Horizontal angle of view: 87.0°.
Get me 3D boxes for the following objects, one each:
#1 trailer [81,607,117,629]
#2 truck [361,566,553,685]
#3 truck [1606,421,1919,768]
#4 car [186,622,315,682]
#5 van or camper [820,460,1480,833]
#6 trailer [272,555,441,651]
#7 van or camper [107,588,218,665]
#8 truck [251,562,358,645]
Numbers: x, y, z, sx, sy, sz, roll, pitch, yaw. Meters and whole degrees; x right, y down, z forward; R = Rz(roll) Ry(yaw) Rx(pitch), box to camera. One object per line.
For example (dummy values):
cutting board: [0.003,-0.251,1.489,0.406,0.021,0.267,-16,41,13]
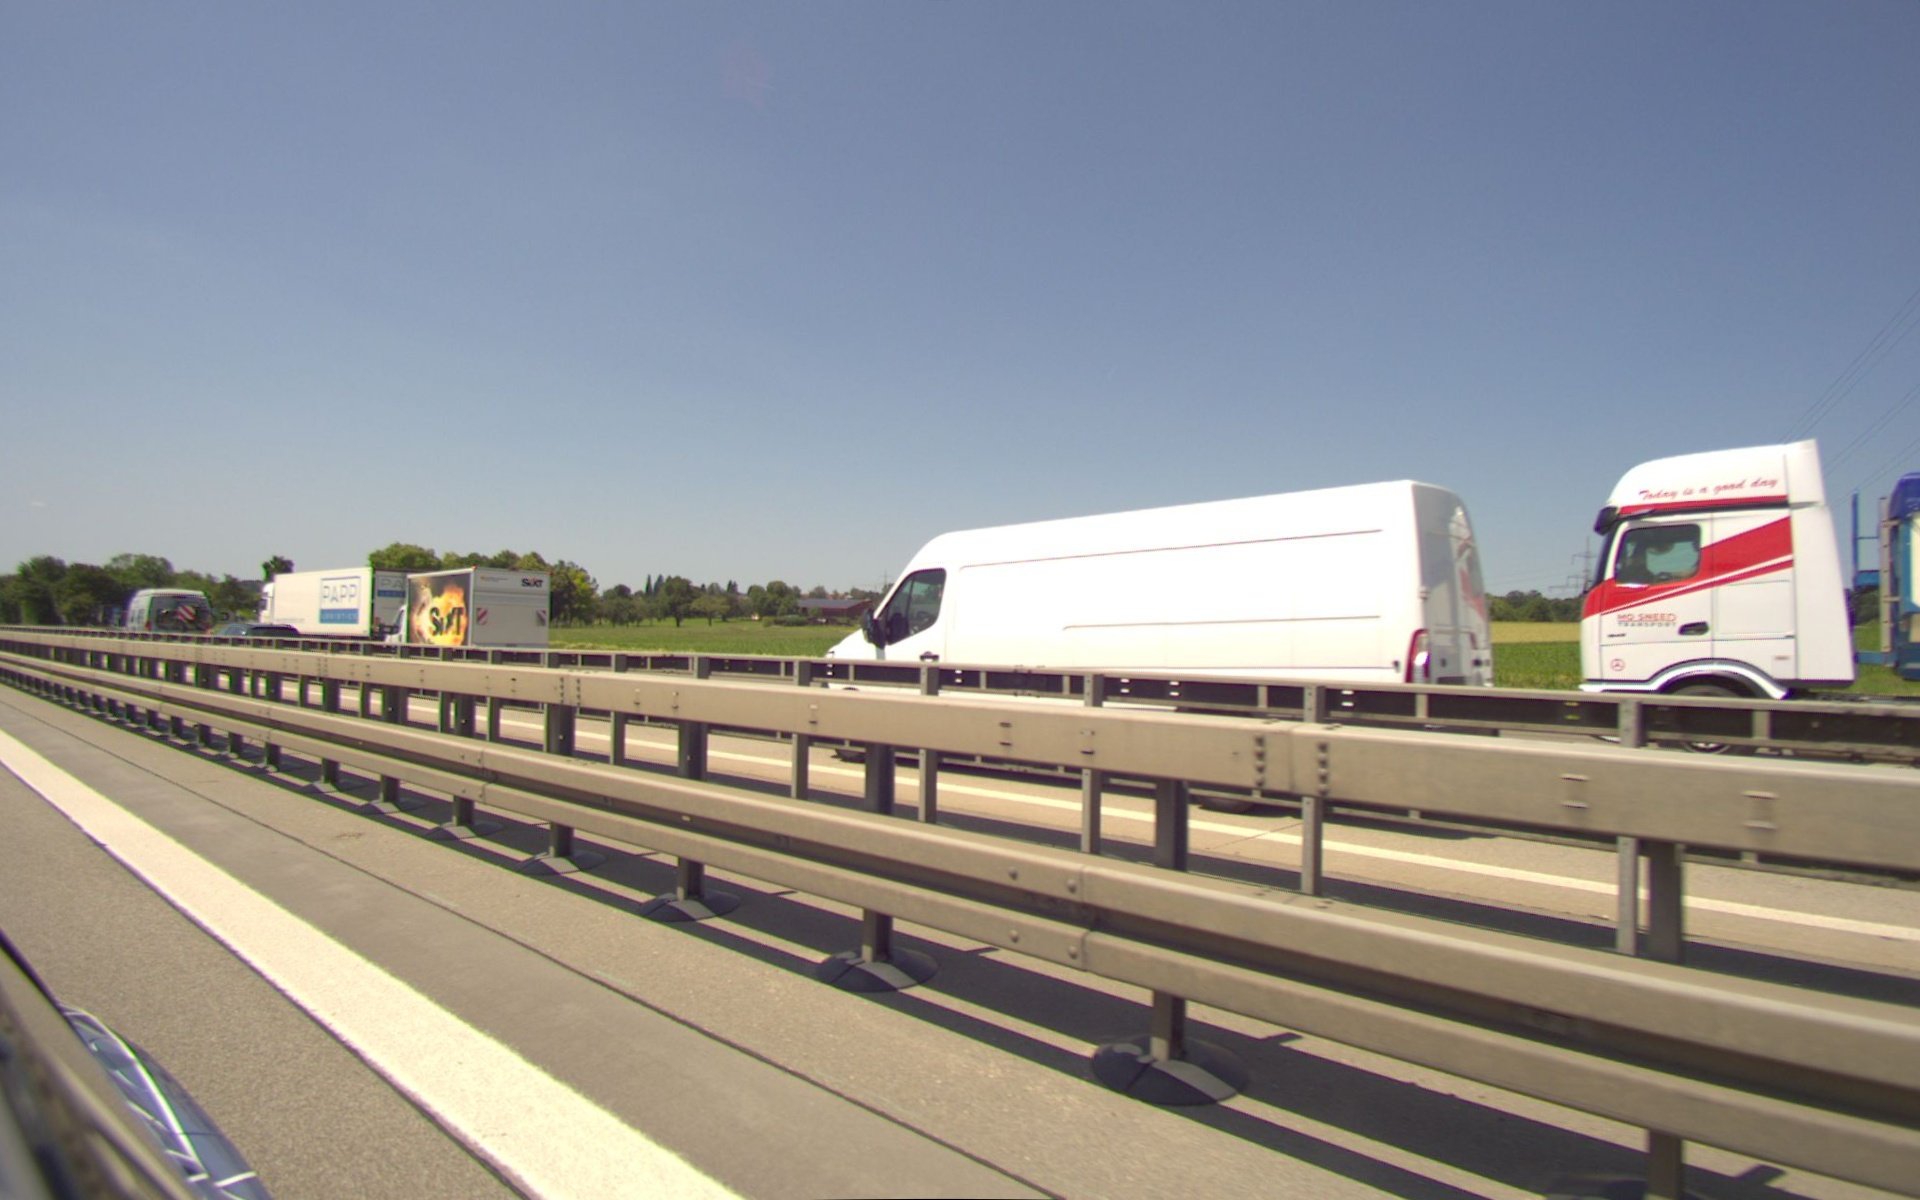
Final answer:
trailer: [-155.098,3.113,182.187,14.402,3.807,2.739,-1,0,41]
truck: [-14.572,0.733,29.026,7.425,3.032,2.225,-1,-3,42]
truck: [11.288,-0.069,11.779,6.052,3.718,2.690,-1,0,40]
car: [-20.058,1.425,28.543,4.932,1.432,1.749,-1,-7,41]
van or camper: [1.453,0.338,9.868,6.119,2.594,2.101,-1,0,41]
trailer: [-28.319,0.148,47.047,12.888,3.947,2.927,-1,0,41]
van or camper: [-31.343,0.971,39.657,7.292,2.755,2.135,-1,0,41]
truck: [-33.500,0.180,51.624,6.474,3.960,2.909,-1,0,41]
